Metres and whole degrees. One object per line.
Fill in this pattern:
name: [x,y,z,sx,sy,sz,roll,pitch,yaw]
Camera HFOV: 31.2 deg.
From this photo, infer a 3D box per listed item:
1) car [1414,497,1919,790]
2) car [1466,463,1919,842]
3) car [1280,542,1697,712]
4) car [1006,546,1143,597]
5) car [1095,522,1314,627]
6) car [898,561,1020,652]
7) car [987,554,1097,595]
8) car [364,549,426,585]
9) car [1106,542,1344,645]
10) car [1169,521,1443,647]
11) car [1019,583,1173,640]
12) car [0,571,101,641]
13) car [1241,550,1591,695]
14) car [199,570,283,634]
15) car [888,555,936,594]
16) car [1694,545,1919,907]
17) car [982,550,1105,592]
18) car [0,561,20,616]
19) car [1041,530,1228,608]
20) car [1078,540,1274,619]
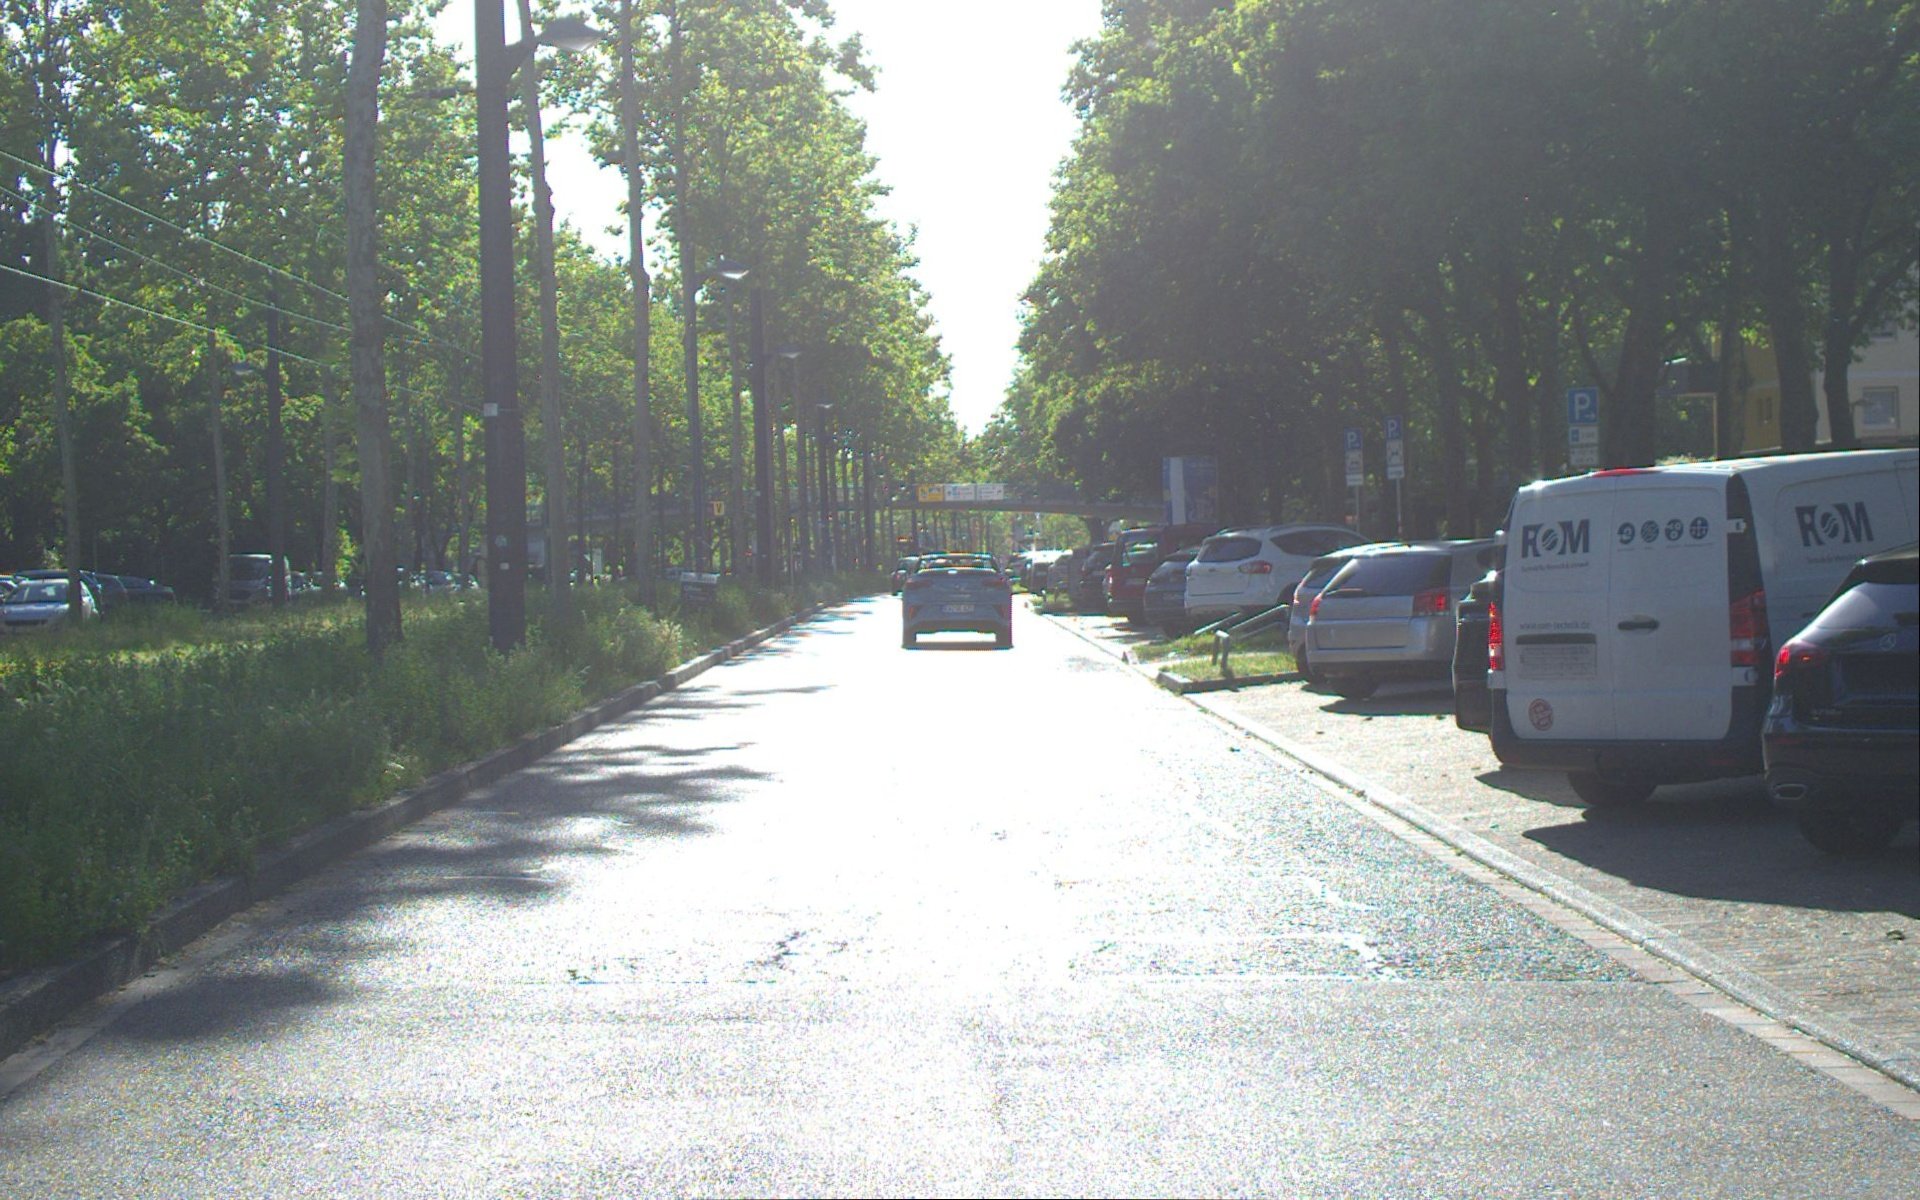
car: [5.200,0.218,22.780,4.490,1.699,1.760,-3,1,-41]
car: [5.105,0.189,19.140,4.657,1.846,1.830,-3,1,-40]
car: [5.132,0.239,33.058,4.174,1.407,1.719,-3,1,-43]
car: [3.692,-0.927,110.482,4.318,1.420,1.855,-3,1,-44]
car: [4.674,-0.500,65.327,4.073,1.804,1.650,-3,1,-40]
car: [-0.040,0.078,56.378,1.922,1.406,4.000,-1,1,-1]
car: [3.448,-1.085,144.378,4.611,1.674,1.856,-1,0,-42]
car: [-25.664,-1.498,156.352,1.993,1.584,4.168,1,1,1]
car: [4.271,-0.117,55.163,3.777,1.465,1.650,-3,1,-43]
car: [5.227,-0.256,51.612,4.017,1.699,1.760,-3,1,-41]
car: [3.995,0.332,100.466,4.482,1.438,1.855,-3,1,-44]
car: [-20.432,0.122,76.535,1.646,1.480,3.850,-2,0,-1]
car: [4.973,0.228,37.164,3.928,1.368,1.587,-3,1,-43]
car: [-24.453,0.044,117.055,1.645,2.086,4.914,1,1,1]
car: [-1.930,-1.045,139.586,1.849,1.530,3.866,-1,1,0]
car: [5.466,0.395,15.507,3.986,1.424,1.799,-6,2,-31]
car: [3.168,-1.094,129.413,1.978,1.454,4.613,-1,1,44]
car: [-30.918,-0.286,103.859,4.474,1.669,1.794,-2,1,-43]
car: [4.047,-0.728,79.429,4.308,1.711,1.635,-2,1,-39]
car: [4.828,-0.460,76.562,4.072,1.577,1.781,-3,1,-35]
